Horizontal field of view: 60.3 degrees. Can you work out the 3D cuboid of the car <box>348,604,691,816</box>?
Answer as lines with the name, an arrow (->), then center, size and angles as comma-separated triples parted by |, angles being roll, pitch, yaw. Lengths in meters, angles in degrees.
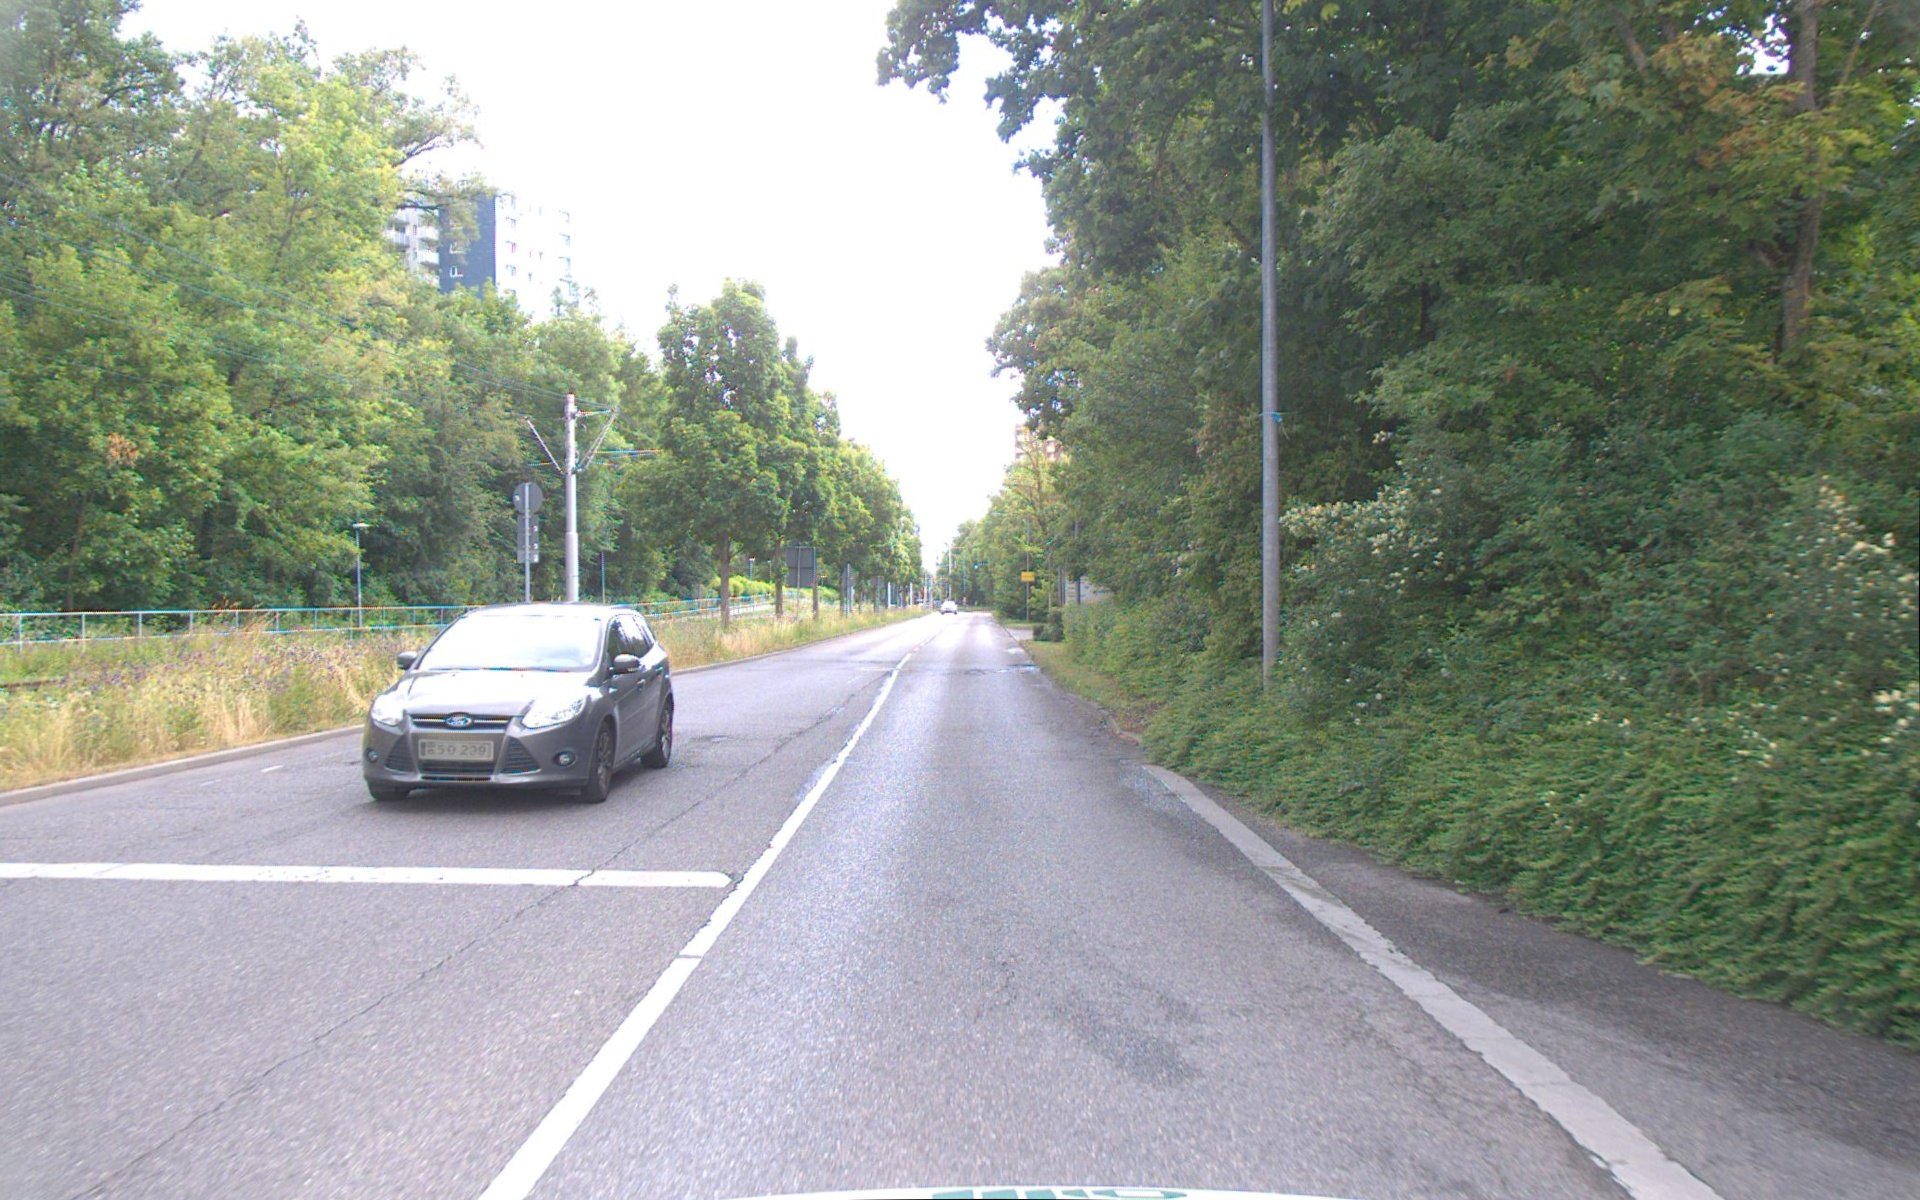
car -> -3.441, 0.773, 13.780 | 1.720, 1.460, 4.428 | 0, 0, -1

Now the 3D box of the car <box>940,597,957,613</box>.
car -> -1.307, 0.520, 187.415 | 1.681, 1.657, 4.000 | -4, 0, 1
